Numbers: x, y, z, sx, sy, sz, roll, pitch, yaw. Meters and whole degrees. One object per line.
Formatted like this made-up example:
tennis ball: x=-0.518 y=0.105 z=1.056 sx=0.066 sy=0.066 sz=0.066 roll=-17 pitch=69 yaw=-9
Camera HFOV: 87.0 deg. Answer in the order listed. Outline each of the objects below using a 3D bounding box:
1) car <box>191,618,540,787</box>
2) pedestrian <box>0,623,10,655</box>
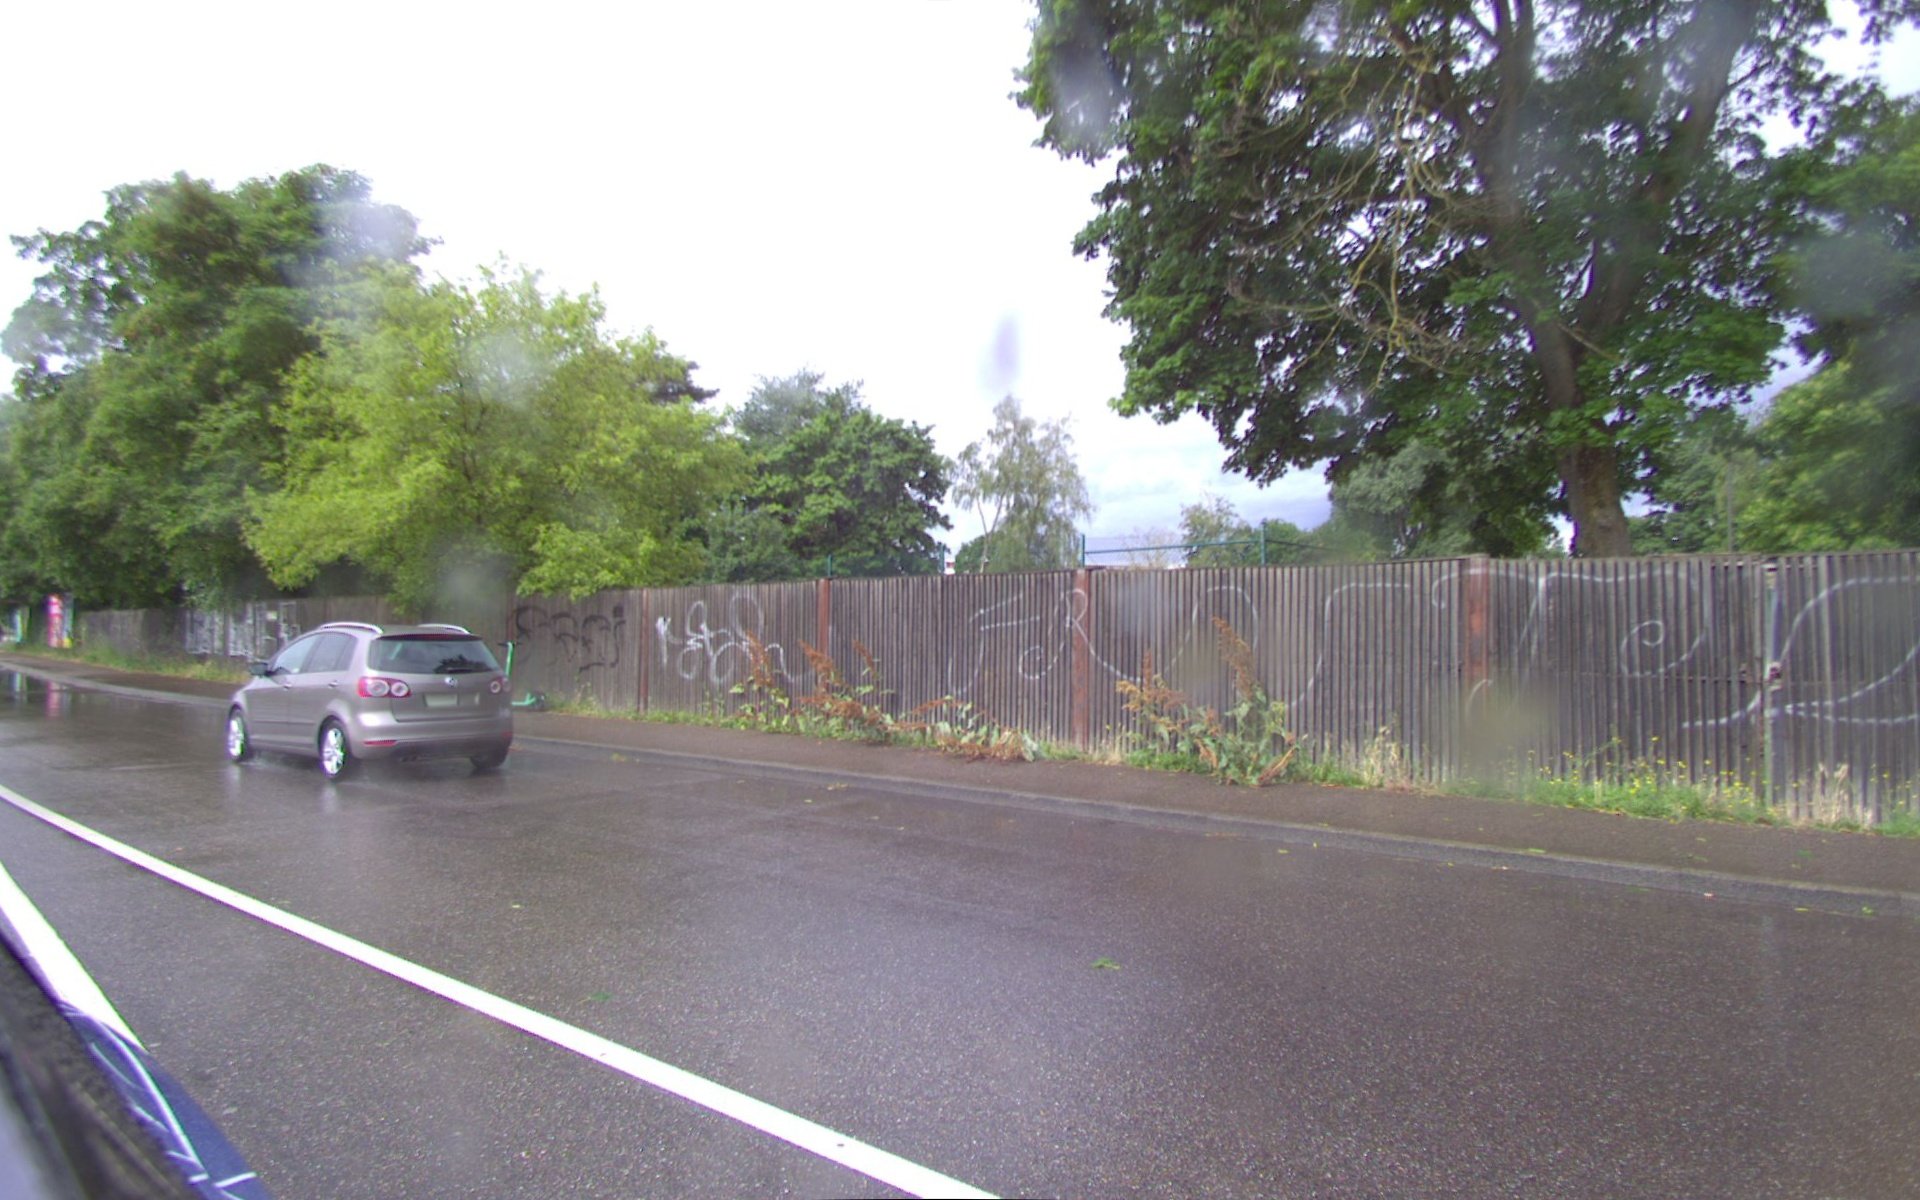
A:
car: x=-6.811 y=1.051 z=11.430 sx=4.418 sy=1.564 sz=1.764 roll=-1 pitch=-5 yaw=37
pedestrian: x=-52.451 y=2.124 z=55.168 sx=0.644 sy=1.783 sz=0.830 roll=-2 pitch=-3 yaw=41
